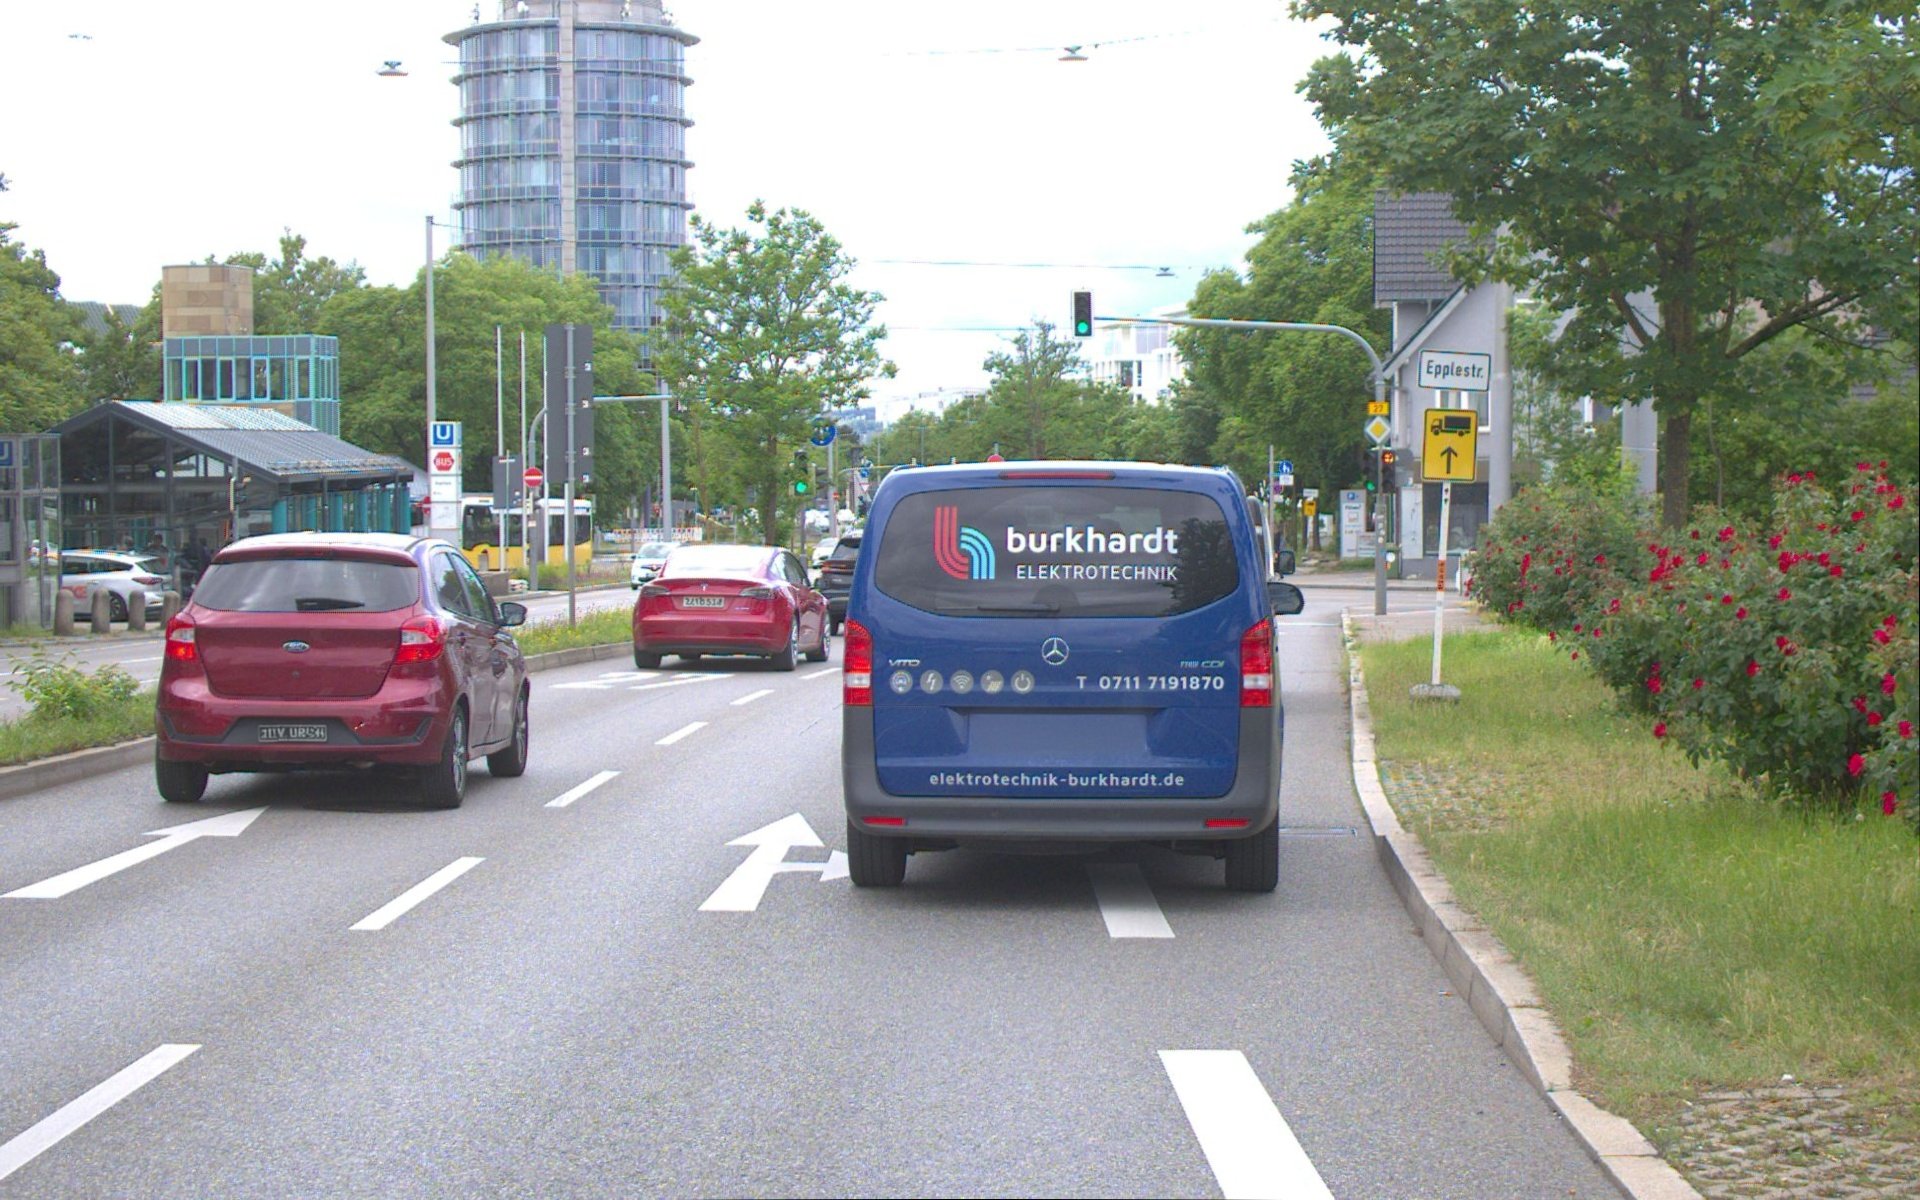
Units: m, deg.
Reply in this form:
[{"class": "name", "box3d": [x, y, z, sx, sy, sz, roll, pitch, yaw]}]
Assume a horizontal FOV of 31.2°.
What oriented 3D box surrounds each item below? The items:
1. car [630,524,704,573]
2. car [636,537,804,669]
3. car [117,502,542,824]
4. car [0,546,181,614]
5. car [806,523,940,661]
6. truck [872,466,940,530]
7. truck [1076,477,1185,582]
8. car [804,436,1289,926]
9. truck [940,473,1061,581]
[{"class": "car", "box3d": [-9.629, -1.696, 113.274, 1.624, 1.568, 3.999, 0, 1, 7]}, {"class": "car", "box3d": [-2.789, 0.011, 40.459, 1.868, 1.481, 4.001, 0, 1, -3]}, {"class": "car", "box3d": [-3.605, 0.296, 20.331, 1.746, 1.717, 4.000, 0, 1, 0]}, {"class": "car", "box3d": [-18.297, -0.427, 71.052, 3.986, 1.349, 2.000, 0, 1, -2]}, {"class": "car", "box3d": [-1.420, -0.168, 54.411, 1.993, 2.006, 4.001, 1, 2, -3]}, {"class": "truck", "box3d": [-3.259, -6.226, 210.682, 3.368, 3.714, 11.279, 1, 1, 3]}, {"class": "truck", "box3d": [3.801, -1.548, 75.792, 1.994, 2.158, 5.558, 2, 1, 6]}, {"class": "car", "box3d": [0.540, 0.287, 16.196, 1.948, 1.959, 4.541, 1, 1, 5]}, {"class": "truck", "box3d": [0.904, -1.560, 73.408, 1.994, 2.158, 5.558, 2, 1, 6]}]
